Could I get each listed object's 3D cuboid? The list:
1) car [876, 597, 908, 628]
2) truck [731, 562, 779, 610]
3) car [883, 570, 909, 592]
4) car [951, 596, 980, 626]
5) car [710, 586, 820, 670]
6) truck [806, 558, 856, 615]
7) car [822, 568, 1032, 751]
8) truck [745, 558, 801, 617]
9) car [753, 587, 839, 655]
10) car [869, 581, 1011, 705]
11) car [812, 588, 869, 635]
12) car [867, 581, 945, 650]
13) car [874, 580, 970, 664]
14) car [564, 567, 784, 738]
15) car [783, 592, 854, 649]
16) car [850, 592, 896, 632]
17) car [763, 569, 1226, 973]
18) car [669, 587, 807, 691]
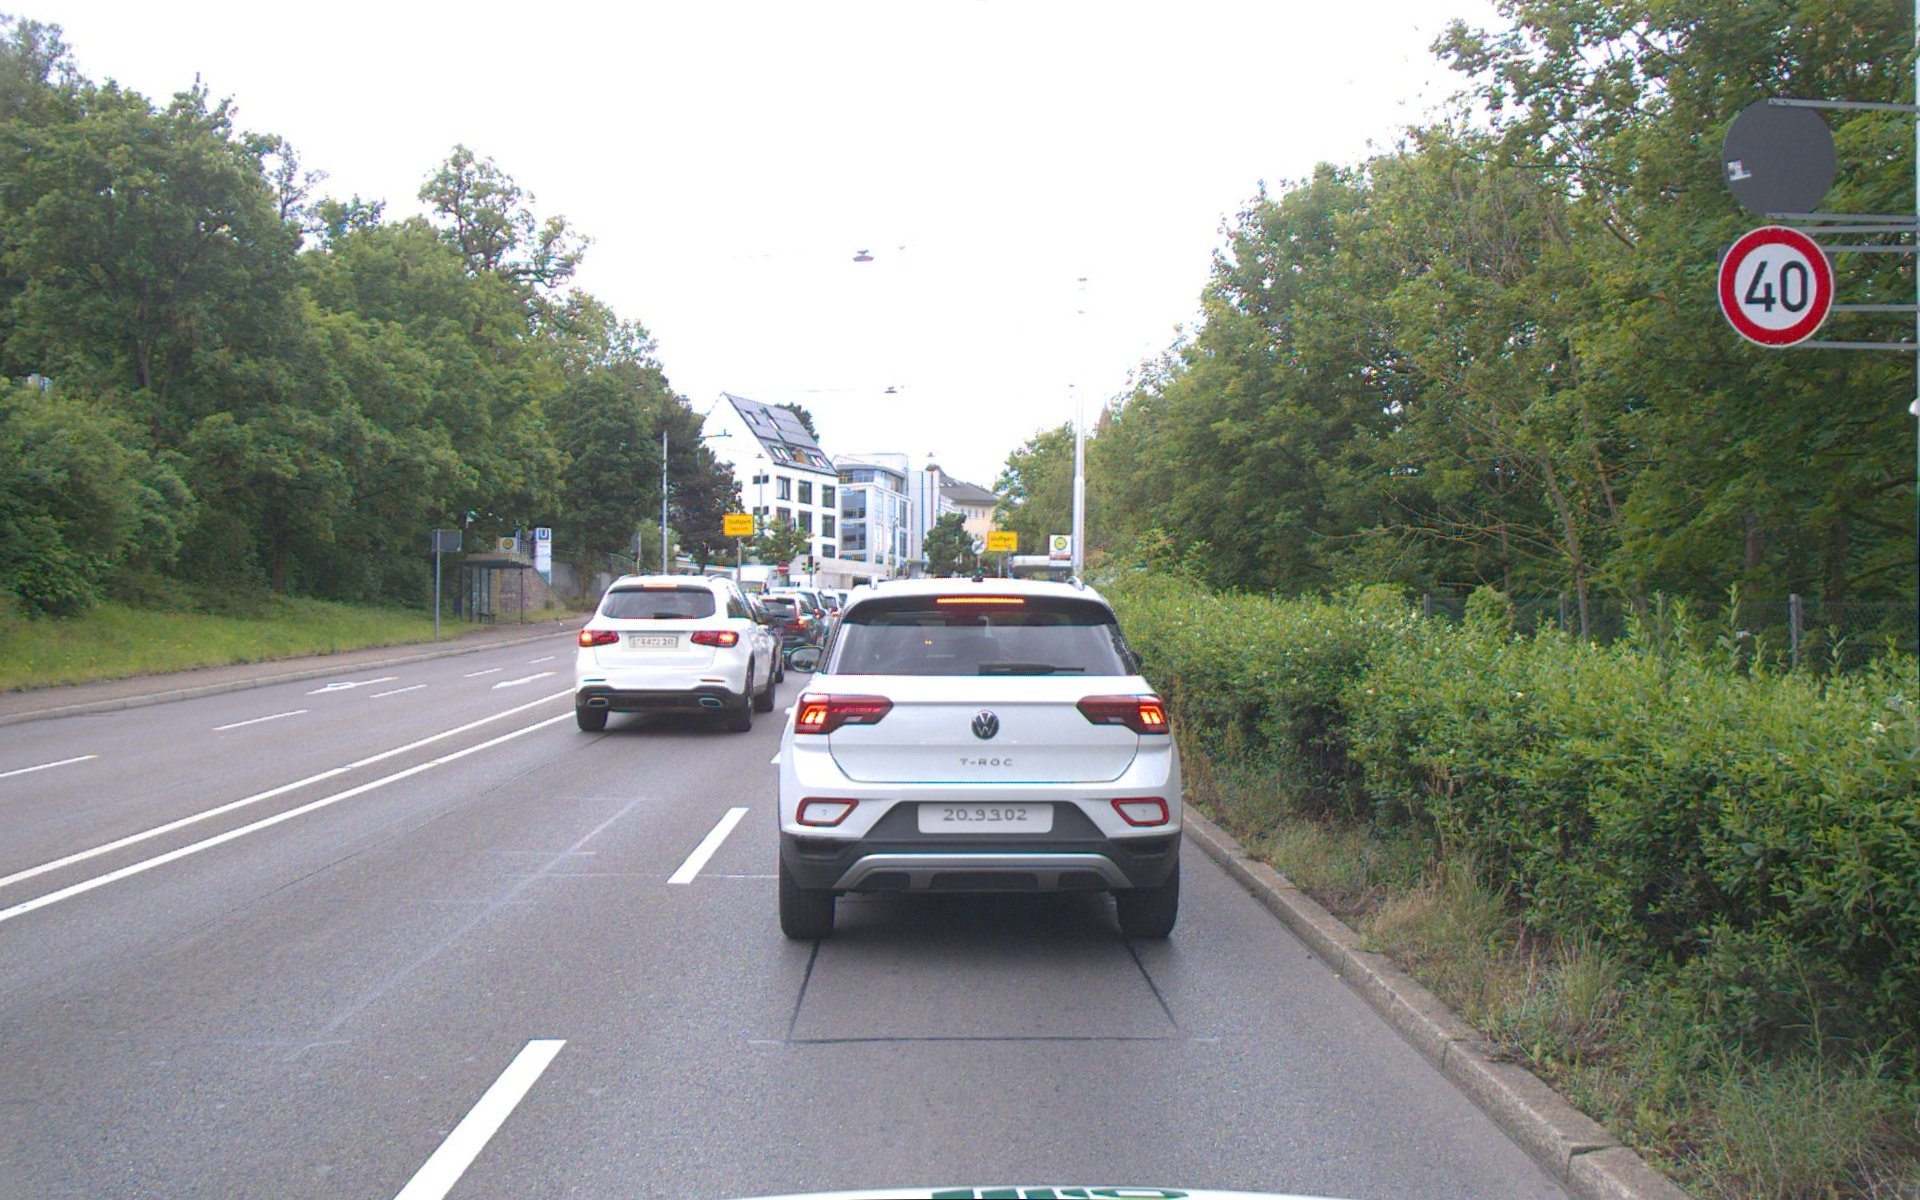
[{"bbox_3d":[-3.956,0.712,96.483,1.778,1.685,3.927,-2,0,-2],"label":"car"},{"bbox_3d":[-13.808,-0.895,111.721,2.246,3.104,6.979,-1,0,0],"label":"truck"},{"bbox_3d":[-4.543,-1.353,118.138,1.792,1.552,3.999,-1,0,-2],"label":"car"},{"bbox_3d":[0.380,0.770,116.921,1.953,2.049,3.999,-1,0,-1],"label":"car"},{"bbox_3d":[-3.826,0.520,33.010,1.792,1.552,3.999,-1,0,-2],"label":"car"},{"bbox_3d":[-6.719,-0.691,86.777,2.315,2.830,4.476,-2,0,-2],"label":"truck"},{"bbox_3d":[-0.339,0.505,16.330,1.792,1.552,3.999,-1,0,-2],"label":"car"},{"bbox_3d":[-9.252,-0.611,82.069,2.315,2.754,4.476,-2,0,-2],"label":"truck"},{"bbox_3d":[-3.932,0.475,40.162,1.792,1.552,3.999,-1,0,-2],"label":"car"},{"bbox_3d":[-0.313,0.539,23.195,1.792,1.552,3.999,-1,0,-2],"label":"car"},{"bbox_3d":[-4.141,0.365,57.766,1.792,1.552,3.999,-1,0,-2],"label":"car"},{"bbox_3d":[-1.302,0.351,40.336,1.792,1.552,3.999,-1,0,-2],"label":"car"},{"bbox_3d":[-0.774,0.409,33.473,1.792,1.552,3.999,-1,0,-2],"label":"car"},{"bbox_3d":[-3.092,0.521,18.658,1.879,1.698,3.999,1,0,-2],"label":"car"},{"bbox_3d":[-4.035,0.547,47.798,1.792,1.552,3.999,-1,0,-2],"label":"car"},{"bbox_3d":[-3.580,0.467,68.500,1.792,1.552,3.999,-1,0,-2],"label":"car"},{"bbox_3d":[0.082,0.650,8.415,1.792,1.552,3.999,0,0,-2],"label":"car"},{"bbox_3d":[-3.514,0.570,26.809,1.792,1.523,3.999,-1,0,-2],"label":"car"}]
